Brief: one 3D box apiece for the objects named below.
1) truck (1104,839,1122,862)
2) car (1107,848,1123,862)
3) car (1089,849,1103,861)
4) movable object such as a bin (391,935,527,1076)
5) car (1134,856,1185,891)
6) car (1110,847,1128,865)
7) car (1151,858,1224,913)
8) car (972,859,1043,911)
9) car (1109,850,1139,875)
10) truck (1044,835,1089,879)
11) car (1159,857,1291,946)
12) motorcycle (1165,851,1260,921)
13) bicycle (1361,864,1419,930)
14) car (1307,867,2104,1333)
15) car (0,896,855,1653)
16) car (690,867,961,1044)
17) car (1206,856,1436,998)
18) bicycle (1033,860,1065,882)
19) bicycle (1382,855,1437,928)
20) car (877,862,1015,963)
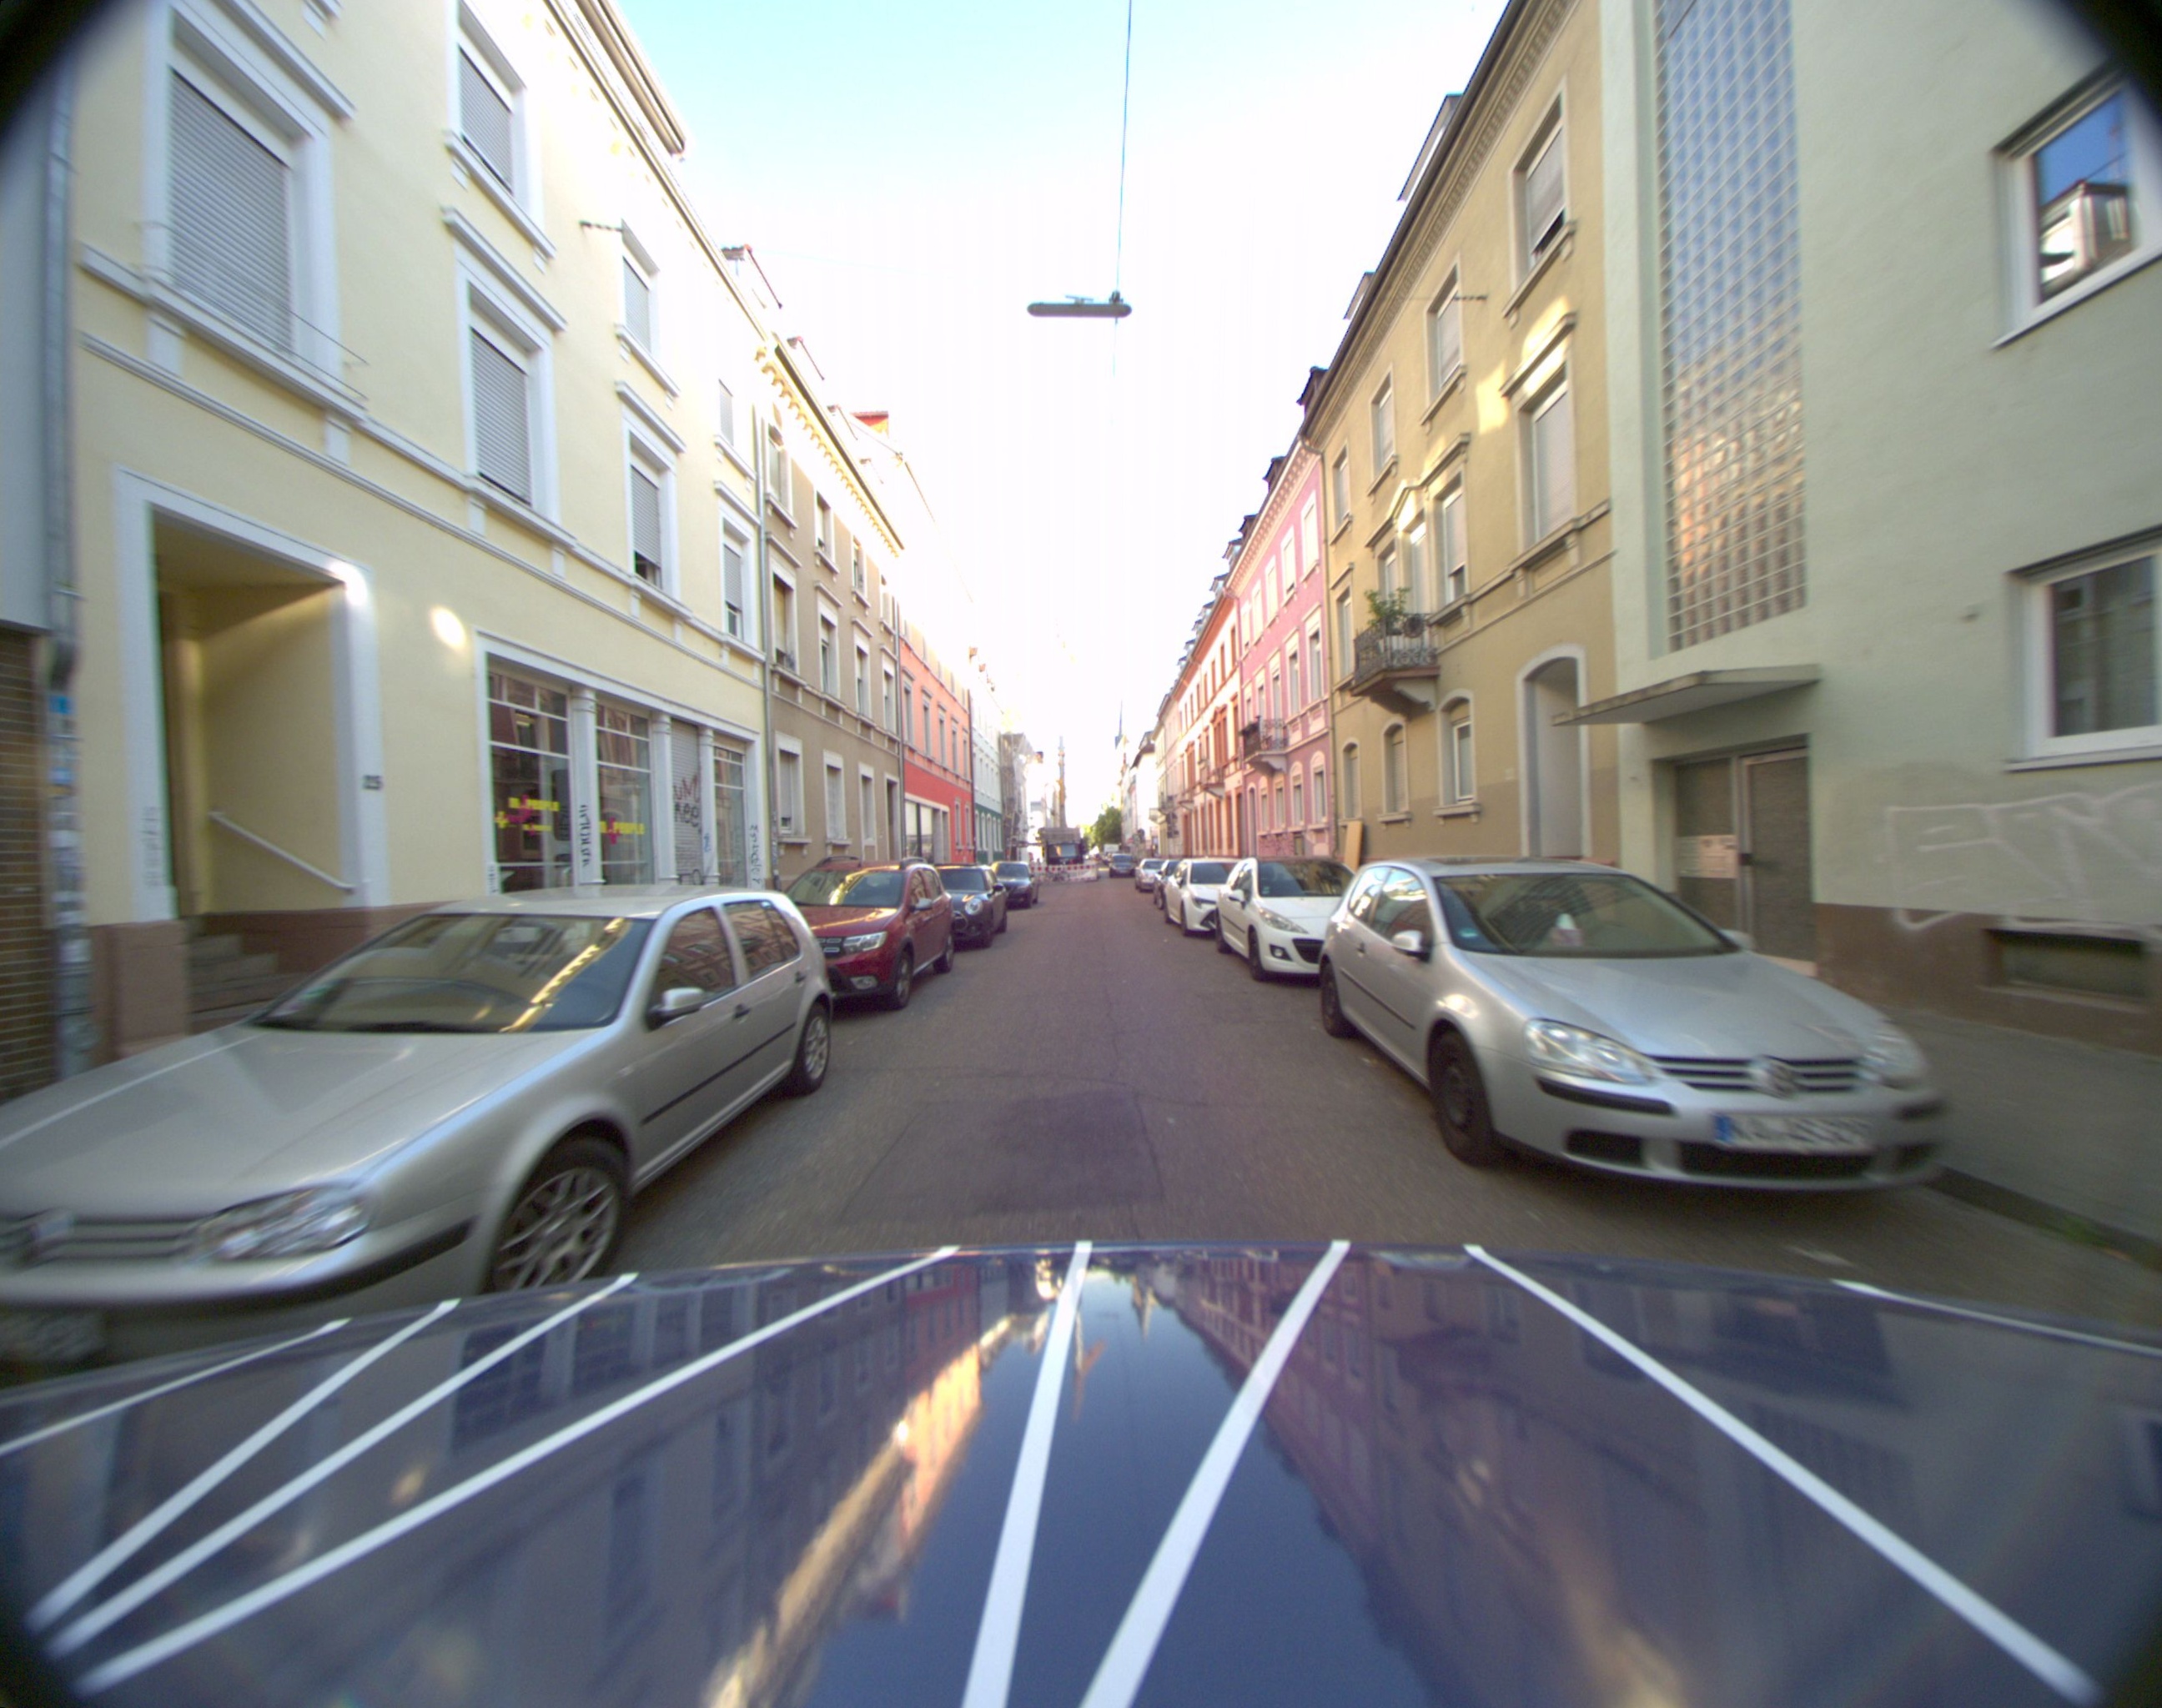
[{"bbox_3d":[4.883,-0.504,116.105,2.524,3.271,6.643,-2,0,2],"label":"truck"},{"bbox_3d":[4.603,0.123,103.155,1.998,1.820,4.379,-4,0,0],"label":"car"},{"bbox_3d":[2.267,0.134,118.626,1.998,1.749,4.255,-4,0,0],"label":"car"},{"bbox_3d":[-5.396,1.299,6.623,0.665,1.092,0.557,-3,1,3],"label":"movable object such as a bin"},{"bbox_3d":[3.275,0.783,32.407,1.771,1.335,4.380,-1,0,0],"label":"car"},{"bbox_3d":[4.344,0.224,87.469,1.998,2.002,4.258,-1,0,2],"label":"car"},{"bbox_3d":[2.987,0.846,22.036,1.730,1.383,4.303,0,0,3],"label":"car"},{"bbox_3d":[-2.323,0.942,25.075,1.831,1.474,4.464,-1,0,1],"label":"car"},{"bbox_3d":[2.906,0.547,51.836,1.832,1.650,4.213,-1,0,1],"label":"car"},{"bbox_3d":[-0.912,0.191,53.997,2.819,2.735,7.678,-4,0,1],"label":"truck"},{"bbox_3d":[2.680,0.820,15.104,1.792,1.454,4.200,-1,0,0],"label":"car"},{"bbox_3d":[3.108,0.728,17.987,1.969,1.470,0.822,-4,1,-19],"label":"motorcycle"},{"bbox_3d":[5.586,0.745,13.822,0.418,1.095,1.494,-3,0,1],"label":"bicycle"},{"bbox_3d":[2.663,0.852,4.559,1.684,1.446,4.035,-1,0,4],"label":"car"},{"bbox_3d":[-2.604,1.065,3.791,1.692,1.444,4.193,-1,0,0],"label":"car"},{"bbox_3d":[-2.708,0.989,9.121,1.794,1.542,4.000,-2,0,1],"label":"car"},{"bbox_3d":[2.884,0.784,10.089,1.794,1.443,4.000,-2,0,0],"label":"car"},{"bbox_3d":[-1.855,0.984,43.708,1.712,1.130,0.470,-4,1,-10],"label":"bicycle"},{"bbox_3d":[5.971,0.650,13.871,0.319,1.253,1.494,-3,0,1],"label":"bicycle"},{"bbox_3d":[-2.423,0.985,14.724,1.766,1.513,4.380,-3,0,1],"label":"car"}]
